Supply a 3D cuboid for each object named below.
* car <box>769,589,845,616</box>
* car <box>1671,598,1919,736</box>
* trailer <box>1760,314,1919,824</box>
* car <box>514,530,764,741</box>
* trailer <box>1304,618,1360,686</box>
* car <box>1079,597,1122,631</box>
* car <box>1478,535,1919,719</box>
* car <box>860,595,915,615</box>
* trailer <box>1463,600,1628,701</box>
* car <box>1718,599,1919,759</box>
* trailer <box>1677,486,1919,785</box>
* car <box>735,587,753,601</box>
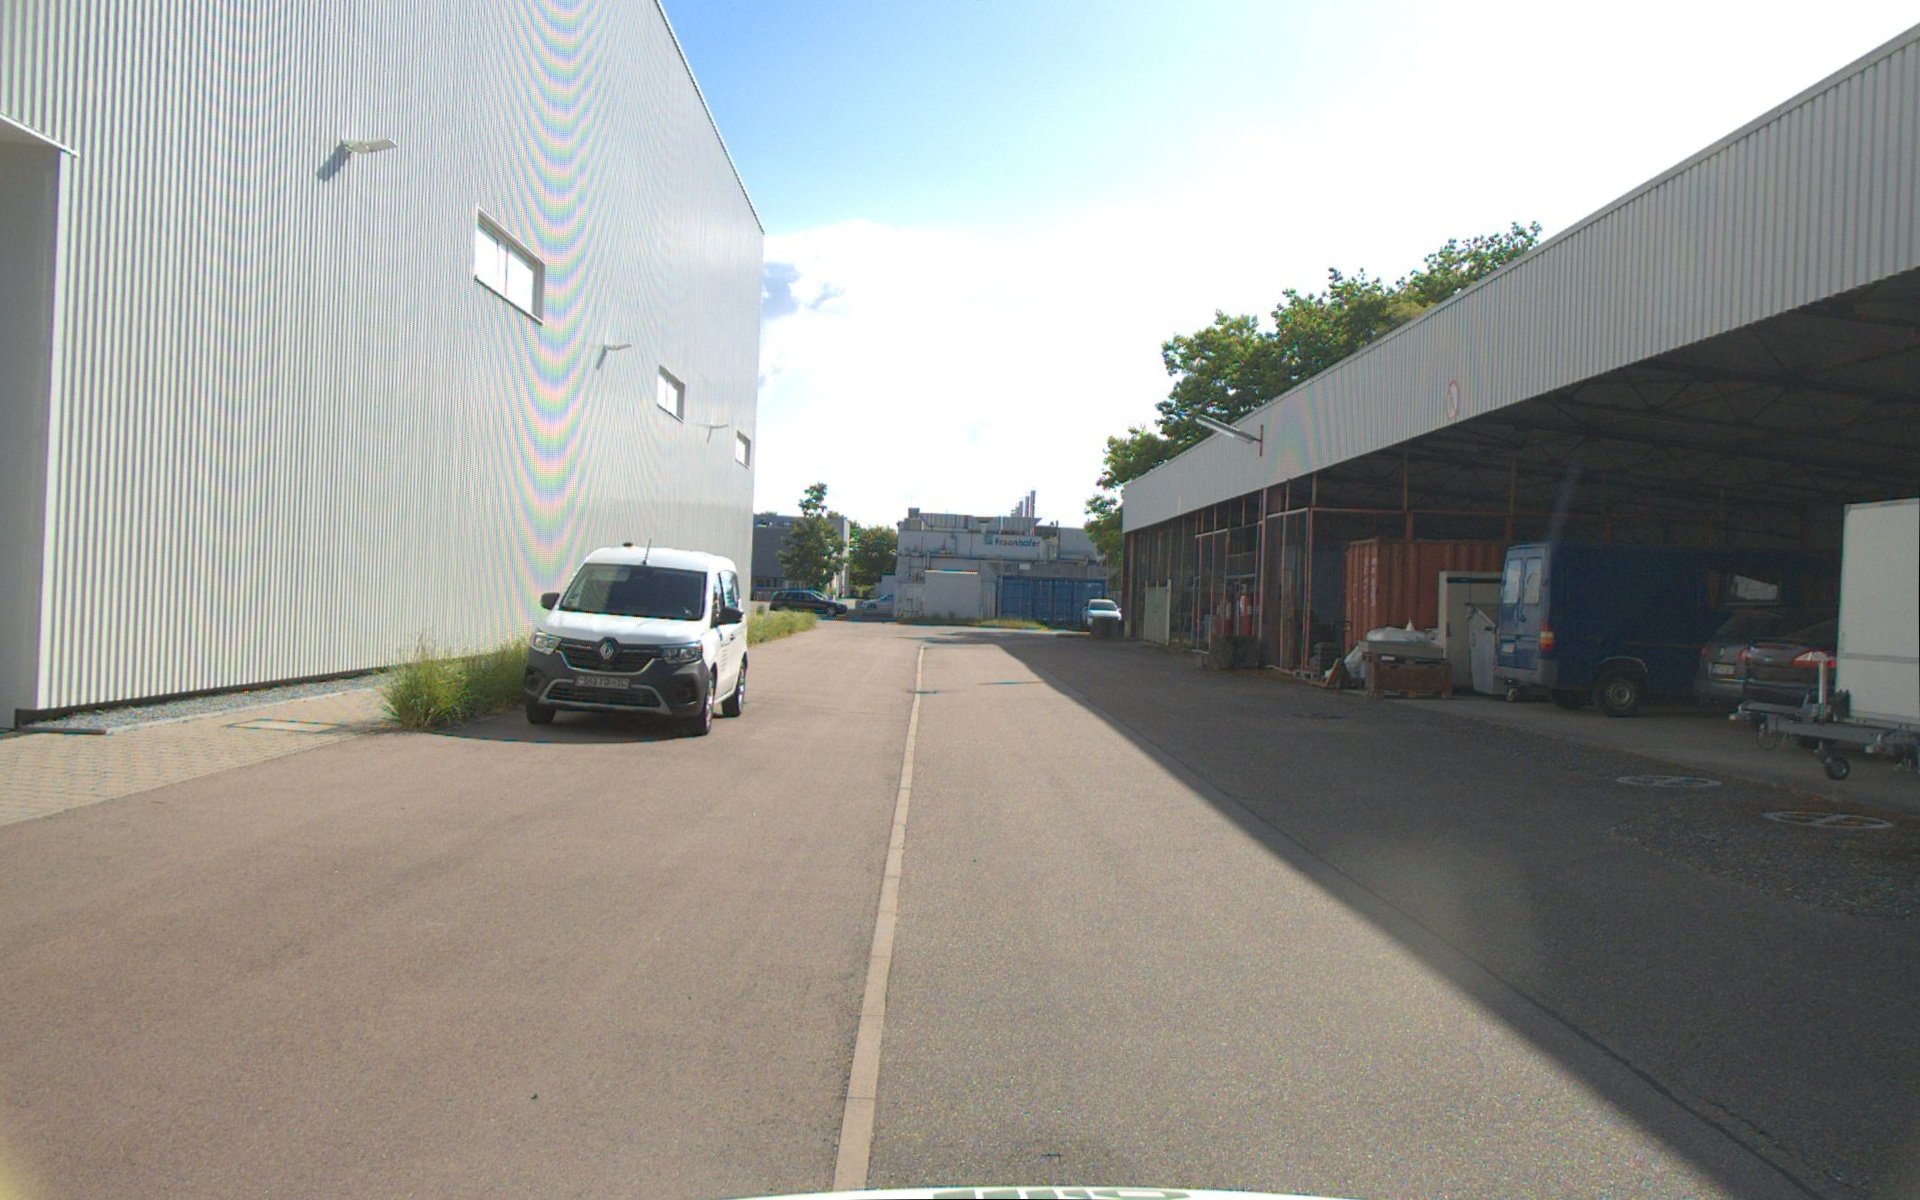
[{"bbox_3d":[-9.179,0.153,99.410,4.358,1.558,1.823,1,0,-2],"label":"car"},{"bbox_3d":[10.928,0.800,19.972,3.886,1.540,1.838,1,-1,-4],"label":"car"},{"bbox_3d":[11.418,-0.164,11.848,10.059,3.401,2.801,1,0,-1],"label":"trailer"},{"bbox_3d":[-3.237,0.346,17.592,1.747,1.847,4.600,3,0,-1],"label":"car"},{"bbox_3d":[6.452,0.880,28.744,0.541,1.138,1.546,1,0,-3],"label":"trailer"},{"bbox_3d":[7.389,0.726,87.340,1.939,1.630,4.378,1,1,0],"label":"car"},{"bbox_3d":[10.210,0.376,23.111,5.225,2.321,2.152,1,-1,-2],"label":"car"},{"bbox_3d":[-5.583,0.372,127.390,4.216,1.483,1.823,1,0,-2],"label":"car"},{"bbox_3d":[9.051,0.750,25.696,1.996,1.492,1.739,1,0,3],"label":"trailer"},{"bbox_3d":[10.233,0.799,16.871,4.164,1.497,1.868,1,0,-4],"label":"car"},{"bbox_3d":[8.843,0.306,14.284,4.424,2.383,2.047,1,-1,0],"label":"trailer"},{"bbox_3d":[-25.384,-0.708,194.374,1.821,1.521,4.027,1,0,-3],"label":"car"}]
